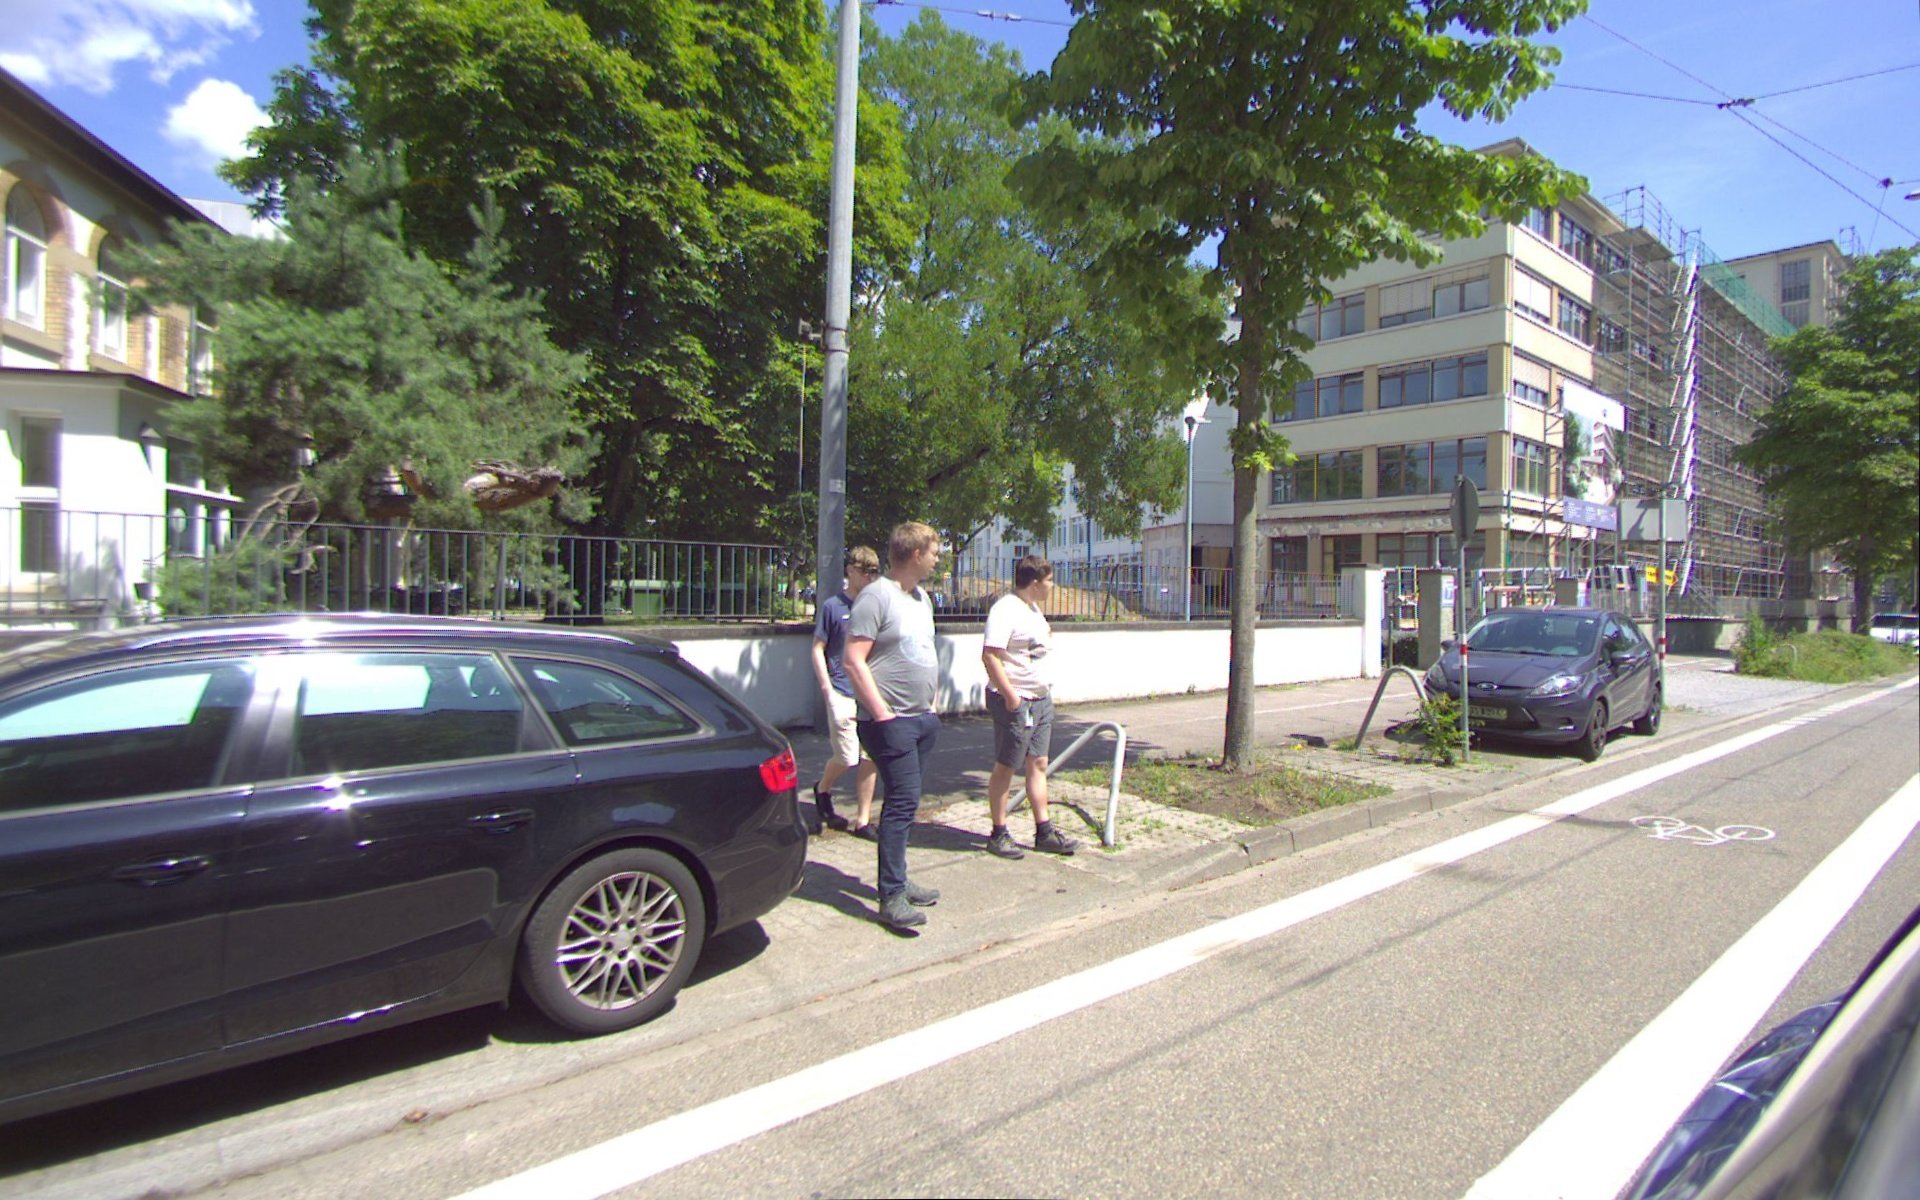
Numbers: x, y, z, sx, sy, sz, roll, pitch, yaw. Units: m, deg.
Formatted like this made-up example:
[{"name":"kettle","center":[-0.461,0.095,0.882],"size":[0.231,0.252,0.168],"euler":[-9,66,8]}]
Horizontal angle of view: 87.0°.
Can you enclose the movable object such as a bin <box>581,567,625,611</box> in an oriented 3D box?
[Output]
[{"name":"movable object such as a bin","center":[-12.309,-0.371,34.883],"size":[1.360,1.481,1.411],"euler":[1,0,-20]}]

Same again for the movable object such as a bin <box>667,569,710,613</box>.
[{"name":"movable object such as a bin","center":[-9.526,-0.307,35.460],"size":[1.360,1.481,1.411],"euler":[1,0,-19]}]

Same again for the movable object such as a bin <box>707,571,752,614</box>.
[{"name":"movable object such as a bin","center":[-8.163,-0.281,35.775],"size":[1.360,1.481,1.411],"euler":[1,0,-20]}]

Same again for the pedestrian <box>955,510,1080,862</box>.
[{"name":"pedestrian","center":[0.349,0.448,5.833],"size":[0.568,1.883,0.723],"euler":[1,0,13]}]

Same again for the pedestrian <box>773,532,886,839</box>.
[{"name":"pedestrian","center":[-0.781,0.485,6.160],"size":[0.471,1.759,0.618],"euler":[1,0,13]}]

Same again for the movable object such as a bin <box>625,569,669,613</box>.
[{"name":"movable object such as a bin","center":[-10.903,-0.314,35.187],"size":[1.360,1.481,1.411],"euler":[1,0,-20]}]

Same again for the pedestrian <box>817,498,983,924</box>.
[{"name":"pedestrian","center":[-0.267,0.478,4.933],"size":[0.568,1.883,0.808],"euler":[1,0,13]}]

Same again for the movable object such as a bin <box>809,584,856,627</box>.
[{"name":"movable object such as a bin","center":[-4.533,0.168,36.121],"size":[1.366,1.481,1.405],"euler":[1,0,8]}]

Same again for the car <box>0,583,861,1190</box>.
[{"name":"car","center":[-2.697,0.693,3.432],"size":[4.448,1.473,1.880],"euler":[0,1,-41]}]

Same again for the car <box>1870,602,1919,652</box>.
[{"name":"car","center":[31.533,0.873,33.449],"size":[3.717,1.554,1.648],"euler":[1,0,-40]}]

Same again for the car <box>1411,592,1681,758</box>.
[{"name":"car","center":[6.614,0.674,11.248],"size":[3.809,1.504,1.640],"euler":[0,1,-44]}]
